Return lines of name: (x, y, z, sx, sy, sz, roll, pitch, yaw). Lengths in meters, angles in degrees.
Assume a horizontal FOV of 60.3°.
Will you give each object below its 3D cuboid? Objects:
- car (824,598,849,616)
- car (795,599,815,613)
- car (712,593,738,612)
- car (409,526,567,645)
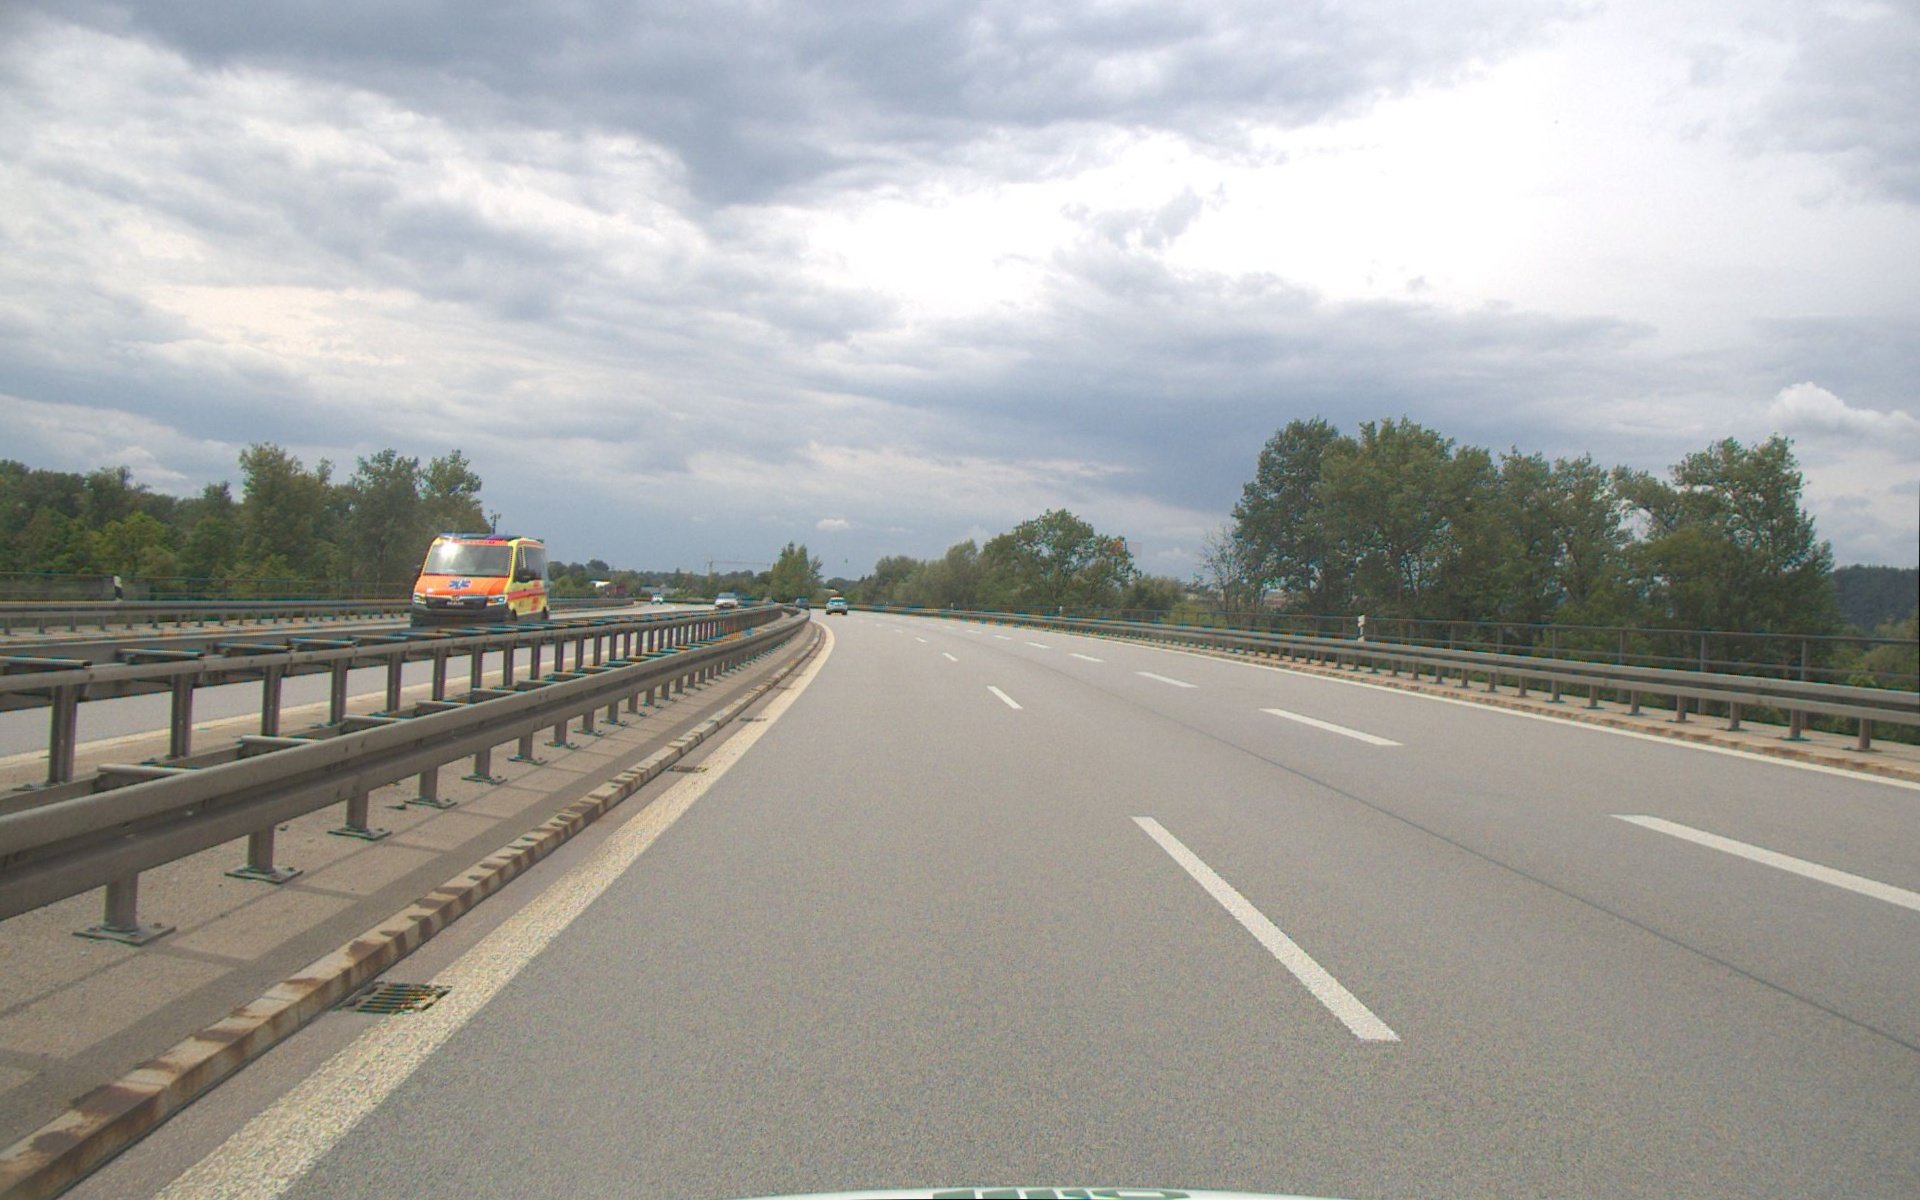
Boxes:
car: (-12.035, 0.709, 160.968, 1.869, 1.668, 4.383, 2, -1, -12)
car: (-19.383, 0.752, 206.341, 1.860, 1.668, 4.606, 2, 0, -13)
car: (-18.134, 0.187, 127.722, 1.737, 1.411, 4.383, 2, -1, -5)
car: (-10.190, -0.281, 36.274, 1.954, 2.333, 6.392, 2, 0, -4)
